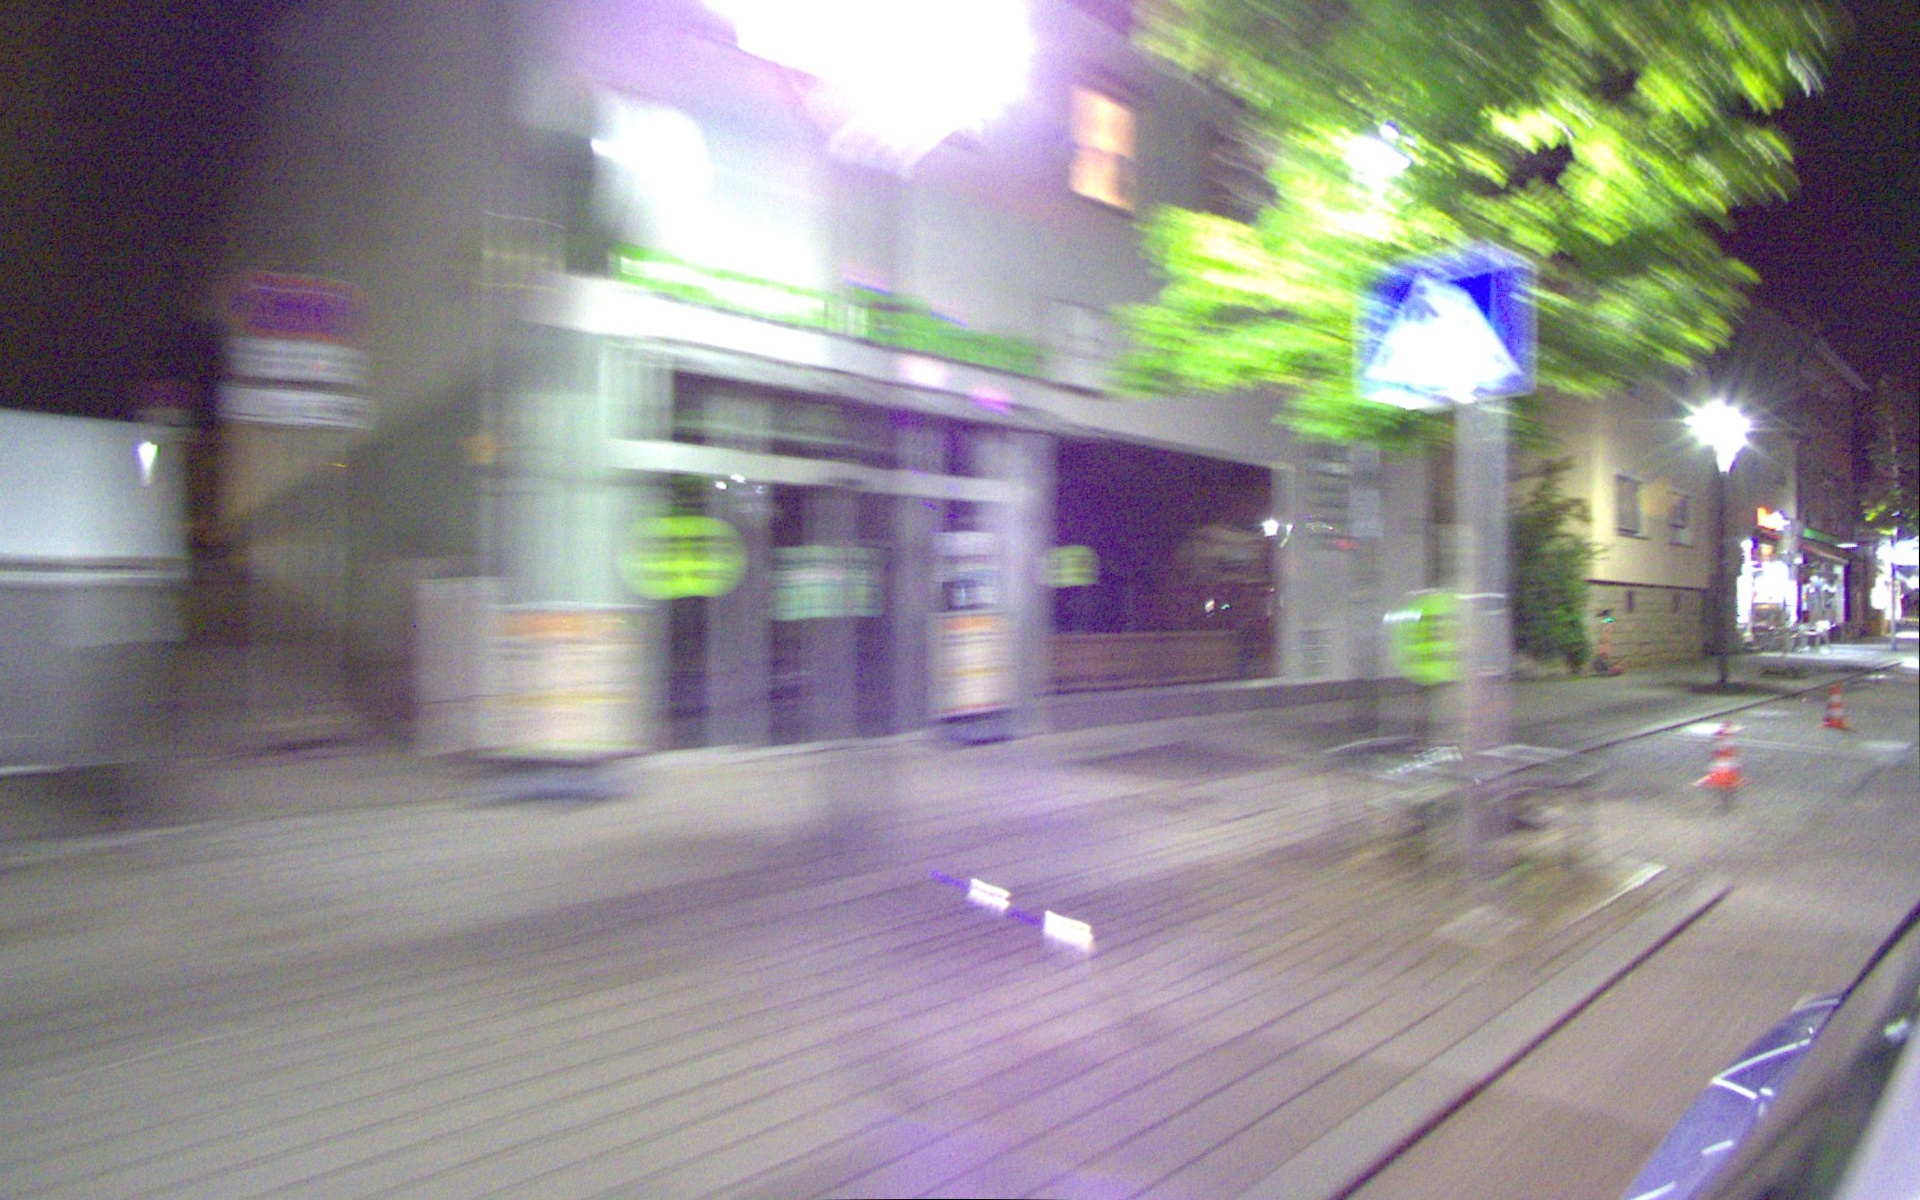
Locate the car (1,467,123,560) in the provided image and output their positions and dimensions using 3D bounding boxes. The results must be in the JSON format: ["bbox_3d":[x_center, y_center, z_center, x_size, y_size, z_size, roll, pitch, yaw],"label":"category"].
[{"bbox_3d":[-18.038,-1.779,20.348,1.698,1.568,4.053,0,6,-42],"label":"car"}]

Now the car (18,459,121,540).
[{"bbox_3d":[-21.041,-2.415,23.965,1.697,1.667,4.054,1,6,-41],"label":"car"}]

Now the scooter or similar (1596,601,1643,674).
[{"bbox_3d":[12.356,0.689,18.954,1.282,1.292,0.374,-1,1,-40],"label":"scooter or similar"}]

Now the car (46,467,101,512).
[{"bbox_3d":[-37.944,-4.751,43.354,1.697,1.667,4.054,1,6,-41],"label":"car"}]
